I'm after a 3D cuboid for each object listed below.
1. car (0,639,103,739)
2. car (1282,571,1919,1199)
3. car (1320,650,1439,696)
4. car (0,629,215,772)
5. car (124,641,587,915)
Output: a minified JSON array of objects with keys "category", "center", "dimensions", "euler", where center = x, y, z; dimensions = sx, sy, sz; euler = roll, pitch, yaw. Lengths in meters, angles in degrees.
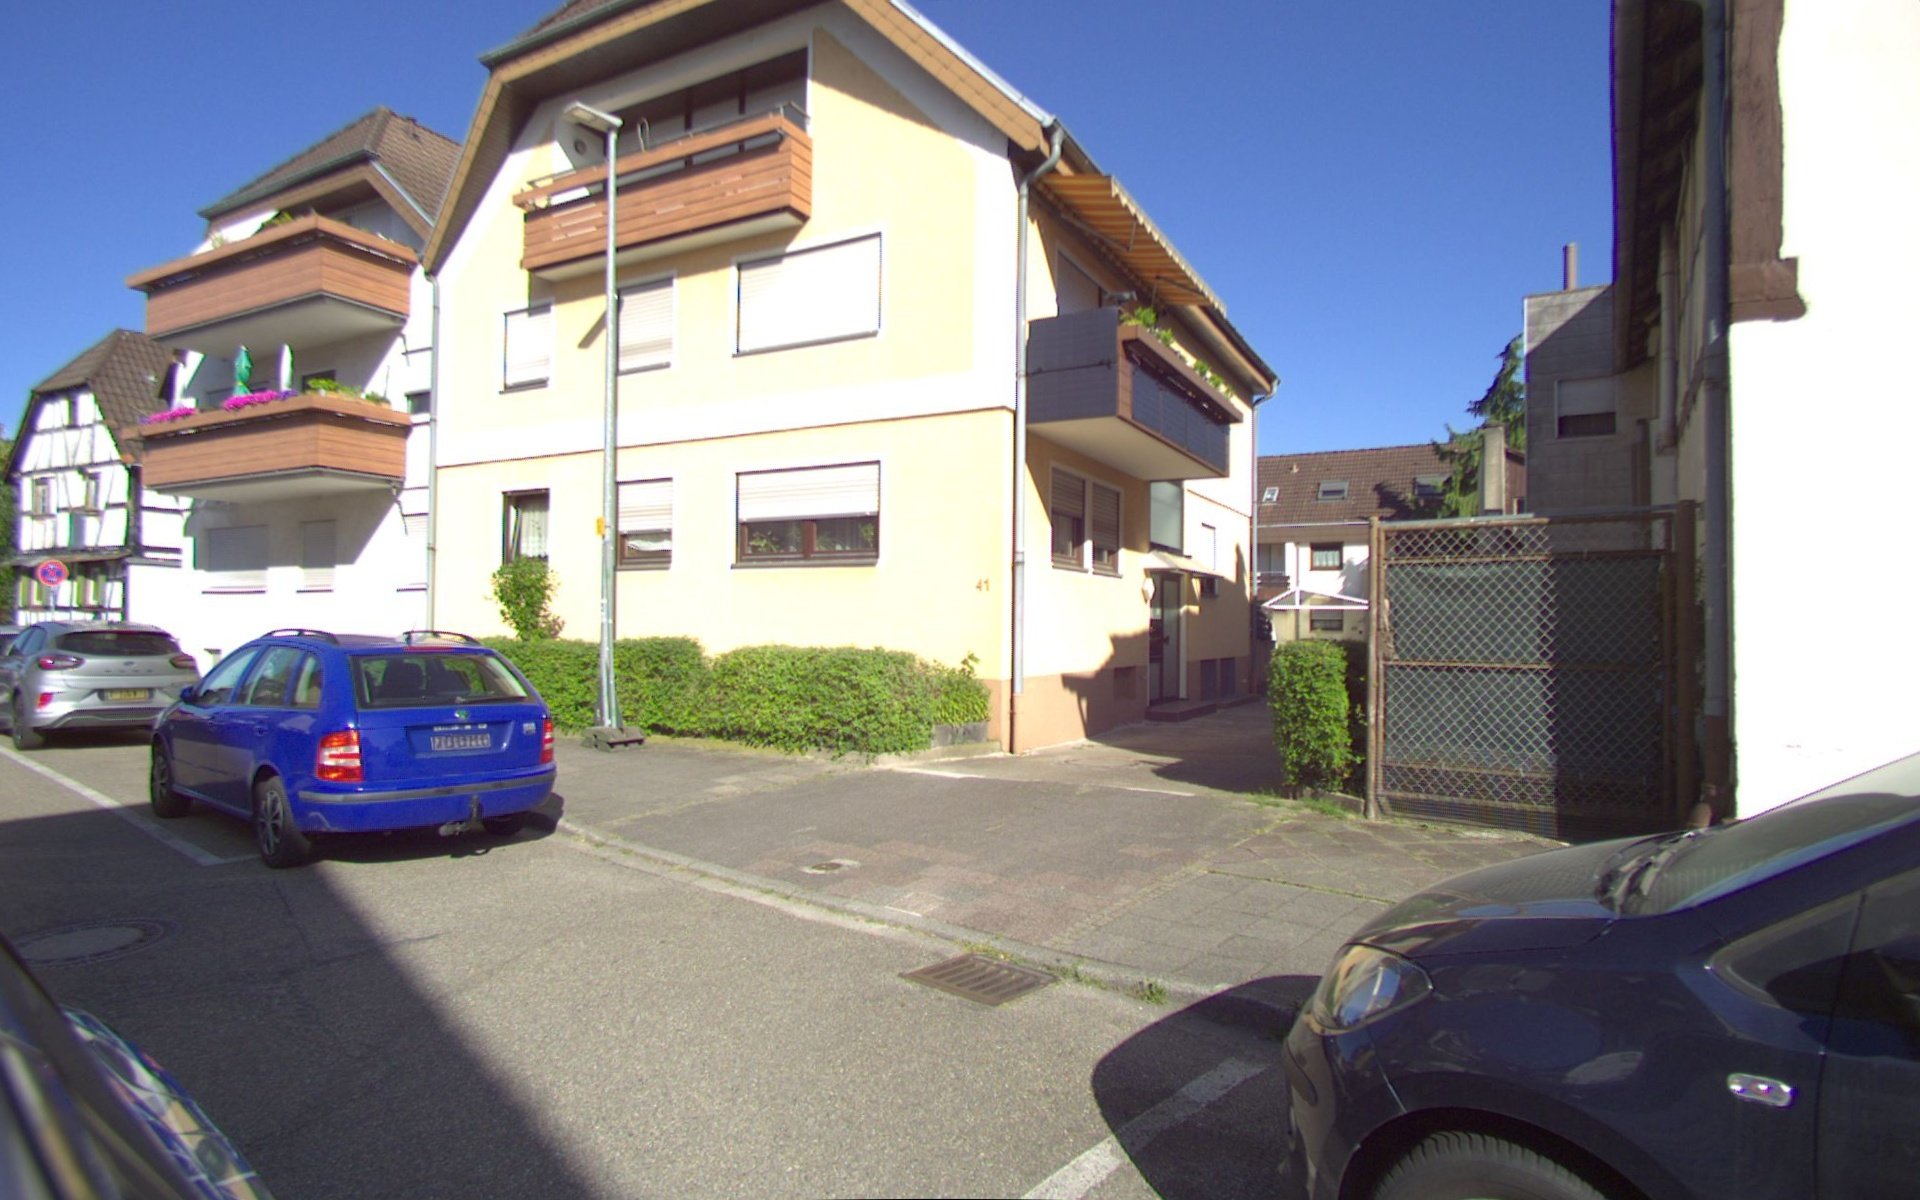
[{"category":"car","center":[-15.471,1.380,16.422],"dimensions":[3.610,1.488,1.608],"euler":[-2,-4,38]},{"category":"car","center":[2.530,0.737,1.331],"dimensions":[3.682,1.519,1.638],"euler":[-2,-4,41]},{"category":"car","center":[14.113,2.417,34.048],"dimensions":[3.602,1.445,1.584],"euler":[-1,-3,27]},{"category":"car","center":[-11.356,1.194,13.036],"dimensions":[3.994,1.568,1.742],"euler":[-2,-4,38]},{"category":"car","center":[-4.519,1.046,7.335],"dimensions":[3.952,1.450,1.602],"euler":[-2,-4,39]}]
